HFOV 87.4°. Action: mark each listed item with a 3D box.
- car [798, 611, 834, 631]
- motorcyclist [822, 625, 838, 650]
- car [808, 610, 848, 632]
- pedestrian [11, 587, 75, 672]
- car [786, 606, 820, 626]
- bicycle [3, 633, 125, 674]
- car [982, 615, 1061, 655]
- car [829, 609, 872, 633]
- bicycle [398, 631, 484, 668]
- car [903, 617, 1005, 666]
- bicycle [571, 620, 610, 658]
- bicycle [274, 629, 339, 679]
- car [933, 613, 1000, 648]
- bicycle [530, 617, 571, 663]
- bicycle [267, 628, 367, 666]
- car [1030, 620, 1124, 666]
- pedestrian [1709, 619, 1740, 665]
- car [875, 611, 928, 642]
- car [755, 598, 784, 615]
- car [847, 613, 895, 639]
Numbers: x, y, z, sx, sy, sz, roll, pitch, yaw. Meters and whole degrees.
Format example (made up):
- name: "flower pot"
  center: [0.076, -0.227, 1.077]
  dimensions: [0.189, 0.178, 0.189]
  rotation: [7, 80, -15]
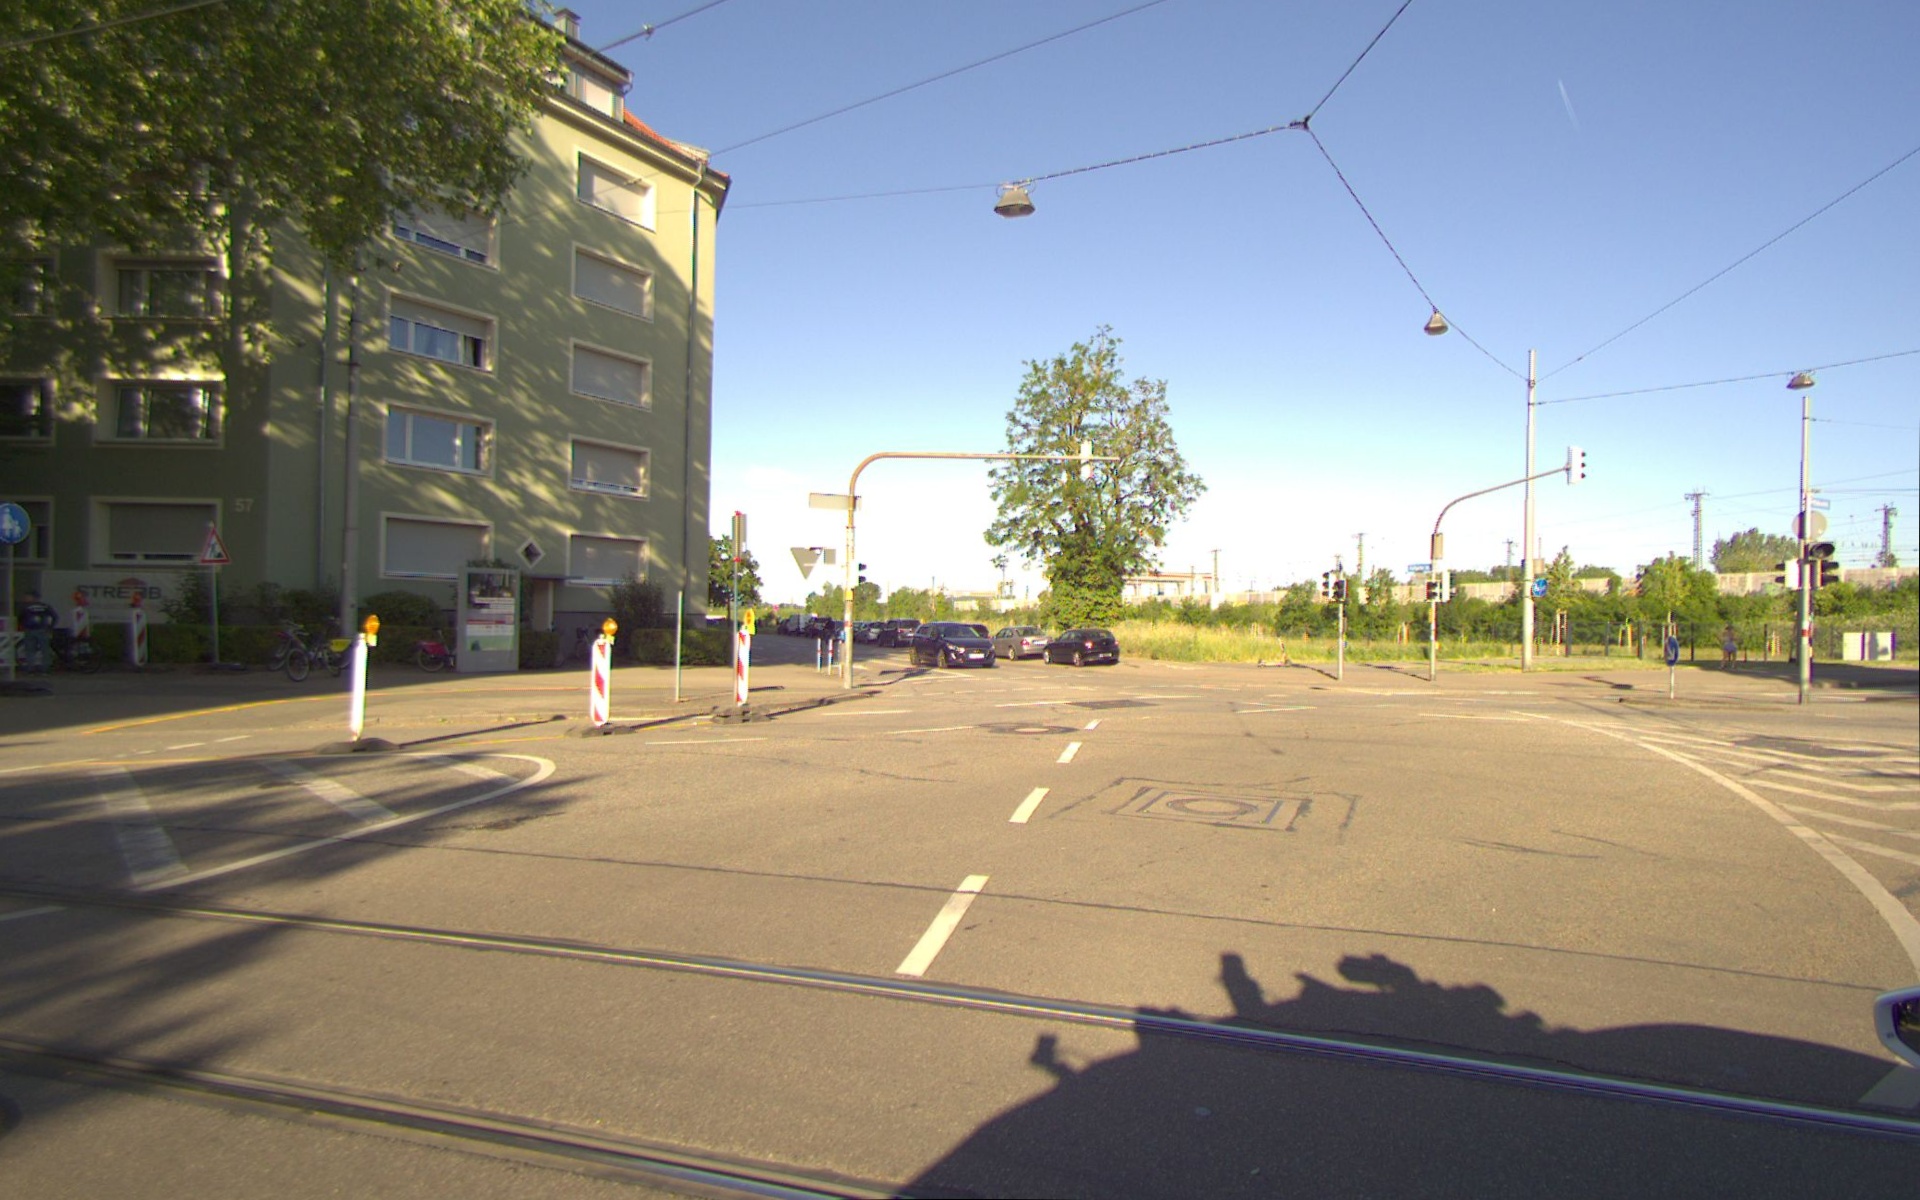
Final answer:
- name: "car"
  center: [-11.762, 1.694, 81.926]
  dimensions: [1.867, 1.439, 3.977]
  rotation: [-6, 2, -23]
- name: "motorcyclist"
  center: [-7.806, 2.272, 60.337]
  dimensions: [0.706, 1.453, 0.789]
  rotation: [1, 1, -28]
- name: "car"
  center: [-10.028, 1.566, 76.223]
  dimensions: [1.867, 1.439, 3.977]
  rotation: [-6, 2, -23]
- name: "pedestrian"
  center: [-17.669, 0.562, 19.363]
  dimensions: [0.732, 1.589, 0.598]
  rotation: [1, 0, -25]
- name: "car"
  center: [-13.695, 1.376, 87.559]
  dimensions: [1.867, 1.439, 3.977]
  rotation: [-6, 2, -23]
- name: "bicycle"
  center: [-17.712, 1.053, 19.885]
  dimensions: [1.756, 0.769, 0.356]
  rotation: [1, 0, -25]
- name: "car"
  center: [2.676, 1.519, 44.914]
  dimensions: [1.867, 1.439, 3.977]
  rotation: [-6, 2, -23]
- name: "car"
  center: [-7.708, 1.445, 70.367]
  dimensions: [1.867, 1.439, 3.977]
  rotation: [-6, 2, -23]
- name: "bicycle"
  center: [-11.674, 1.104, 22.634]
  dimensions: [0.352, 0.769, 1.775]
  rotation: [0, -1, 33]
- name: "car"
  center: [-0.262, 1.305, 32.961]
  dimensions: [1.972, 1.439, 3.977]
  rotation: [0, 0, -23]
- name: "bicycle"
  center: [-11.067, 1.148, 30.095]
  dimensions: [1.489, 1.102, 0.357]
  rotation: [0, -1, 38]
- name: "bicycle"
  center: [-12.733, 1.025, 19.613]
  dimensions: [0.352, 0.900, 1.778]
  rotation: [1, -1, -9]
- name: "car"
  center: [0.281, 1.512, 50.942]
  dimensions: [1.867, 1.439, 3.977]
  rotation: [-6, 2, -23]
- name: "bicycle"
  center: [-11.235, 1.084, 27.553]
  dimensions: [1.489, 1.221, 0.357]
  rotation: [0, -1, 38]
- name: "bicycle"
  center: [-13.689, 0.984, 21.428]
  dimensions: [1.766, 0.769, 0.354]
  rotation: [1, -1, -40]
- name: "car"
  center: [4.551, 1.649, 39.565]
  dimensions: [1.867, 1.439, 3.977]
  rotation: [-6, 2, -23]
- name: "pedestrian"
  center: [27.386, 1.498, 35.976]
  dimensions: [0.675, 1.617, 0.598]
  rotation: [1, 1, -23]
- name: "car"
  center: [-3.598, 1.586, 60.698]
  dimensions: [1.867, 1.589, 3.977]
  rotation: [-6, 2, -23]
- name: "car"
  center: [-18.680, 0.633, 98.387]
  dimensions: [1.867, 1.439, 3.977]
  rotation: [-6, 2, -23]
- name: "car"
  center: [-5.886, 1.690, 66.013]
  dimensions: [1.867, 1.439, 3.977]
  rotation: [-6, 2, -23]
